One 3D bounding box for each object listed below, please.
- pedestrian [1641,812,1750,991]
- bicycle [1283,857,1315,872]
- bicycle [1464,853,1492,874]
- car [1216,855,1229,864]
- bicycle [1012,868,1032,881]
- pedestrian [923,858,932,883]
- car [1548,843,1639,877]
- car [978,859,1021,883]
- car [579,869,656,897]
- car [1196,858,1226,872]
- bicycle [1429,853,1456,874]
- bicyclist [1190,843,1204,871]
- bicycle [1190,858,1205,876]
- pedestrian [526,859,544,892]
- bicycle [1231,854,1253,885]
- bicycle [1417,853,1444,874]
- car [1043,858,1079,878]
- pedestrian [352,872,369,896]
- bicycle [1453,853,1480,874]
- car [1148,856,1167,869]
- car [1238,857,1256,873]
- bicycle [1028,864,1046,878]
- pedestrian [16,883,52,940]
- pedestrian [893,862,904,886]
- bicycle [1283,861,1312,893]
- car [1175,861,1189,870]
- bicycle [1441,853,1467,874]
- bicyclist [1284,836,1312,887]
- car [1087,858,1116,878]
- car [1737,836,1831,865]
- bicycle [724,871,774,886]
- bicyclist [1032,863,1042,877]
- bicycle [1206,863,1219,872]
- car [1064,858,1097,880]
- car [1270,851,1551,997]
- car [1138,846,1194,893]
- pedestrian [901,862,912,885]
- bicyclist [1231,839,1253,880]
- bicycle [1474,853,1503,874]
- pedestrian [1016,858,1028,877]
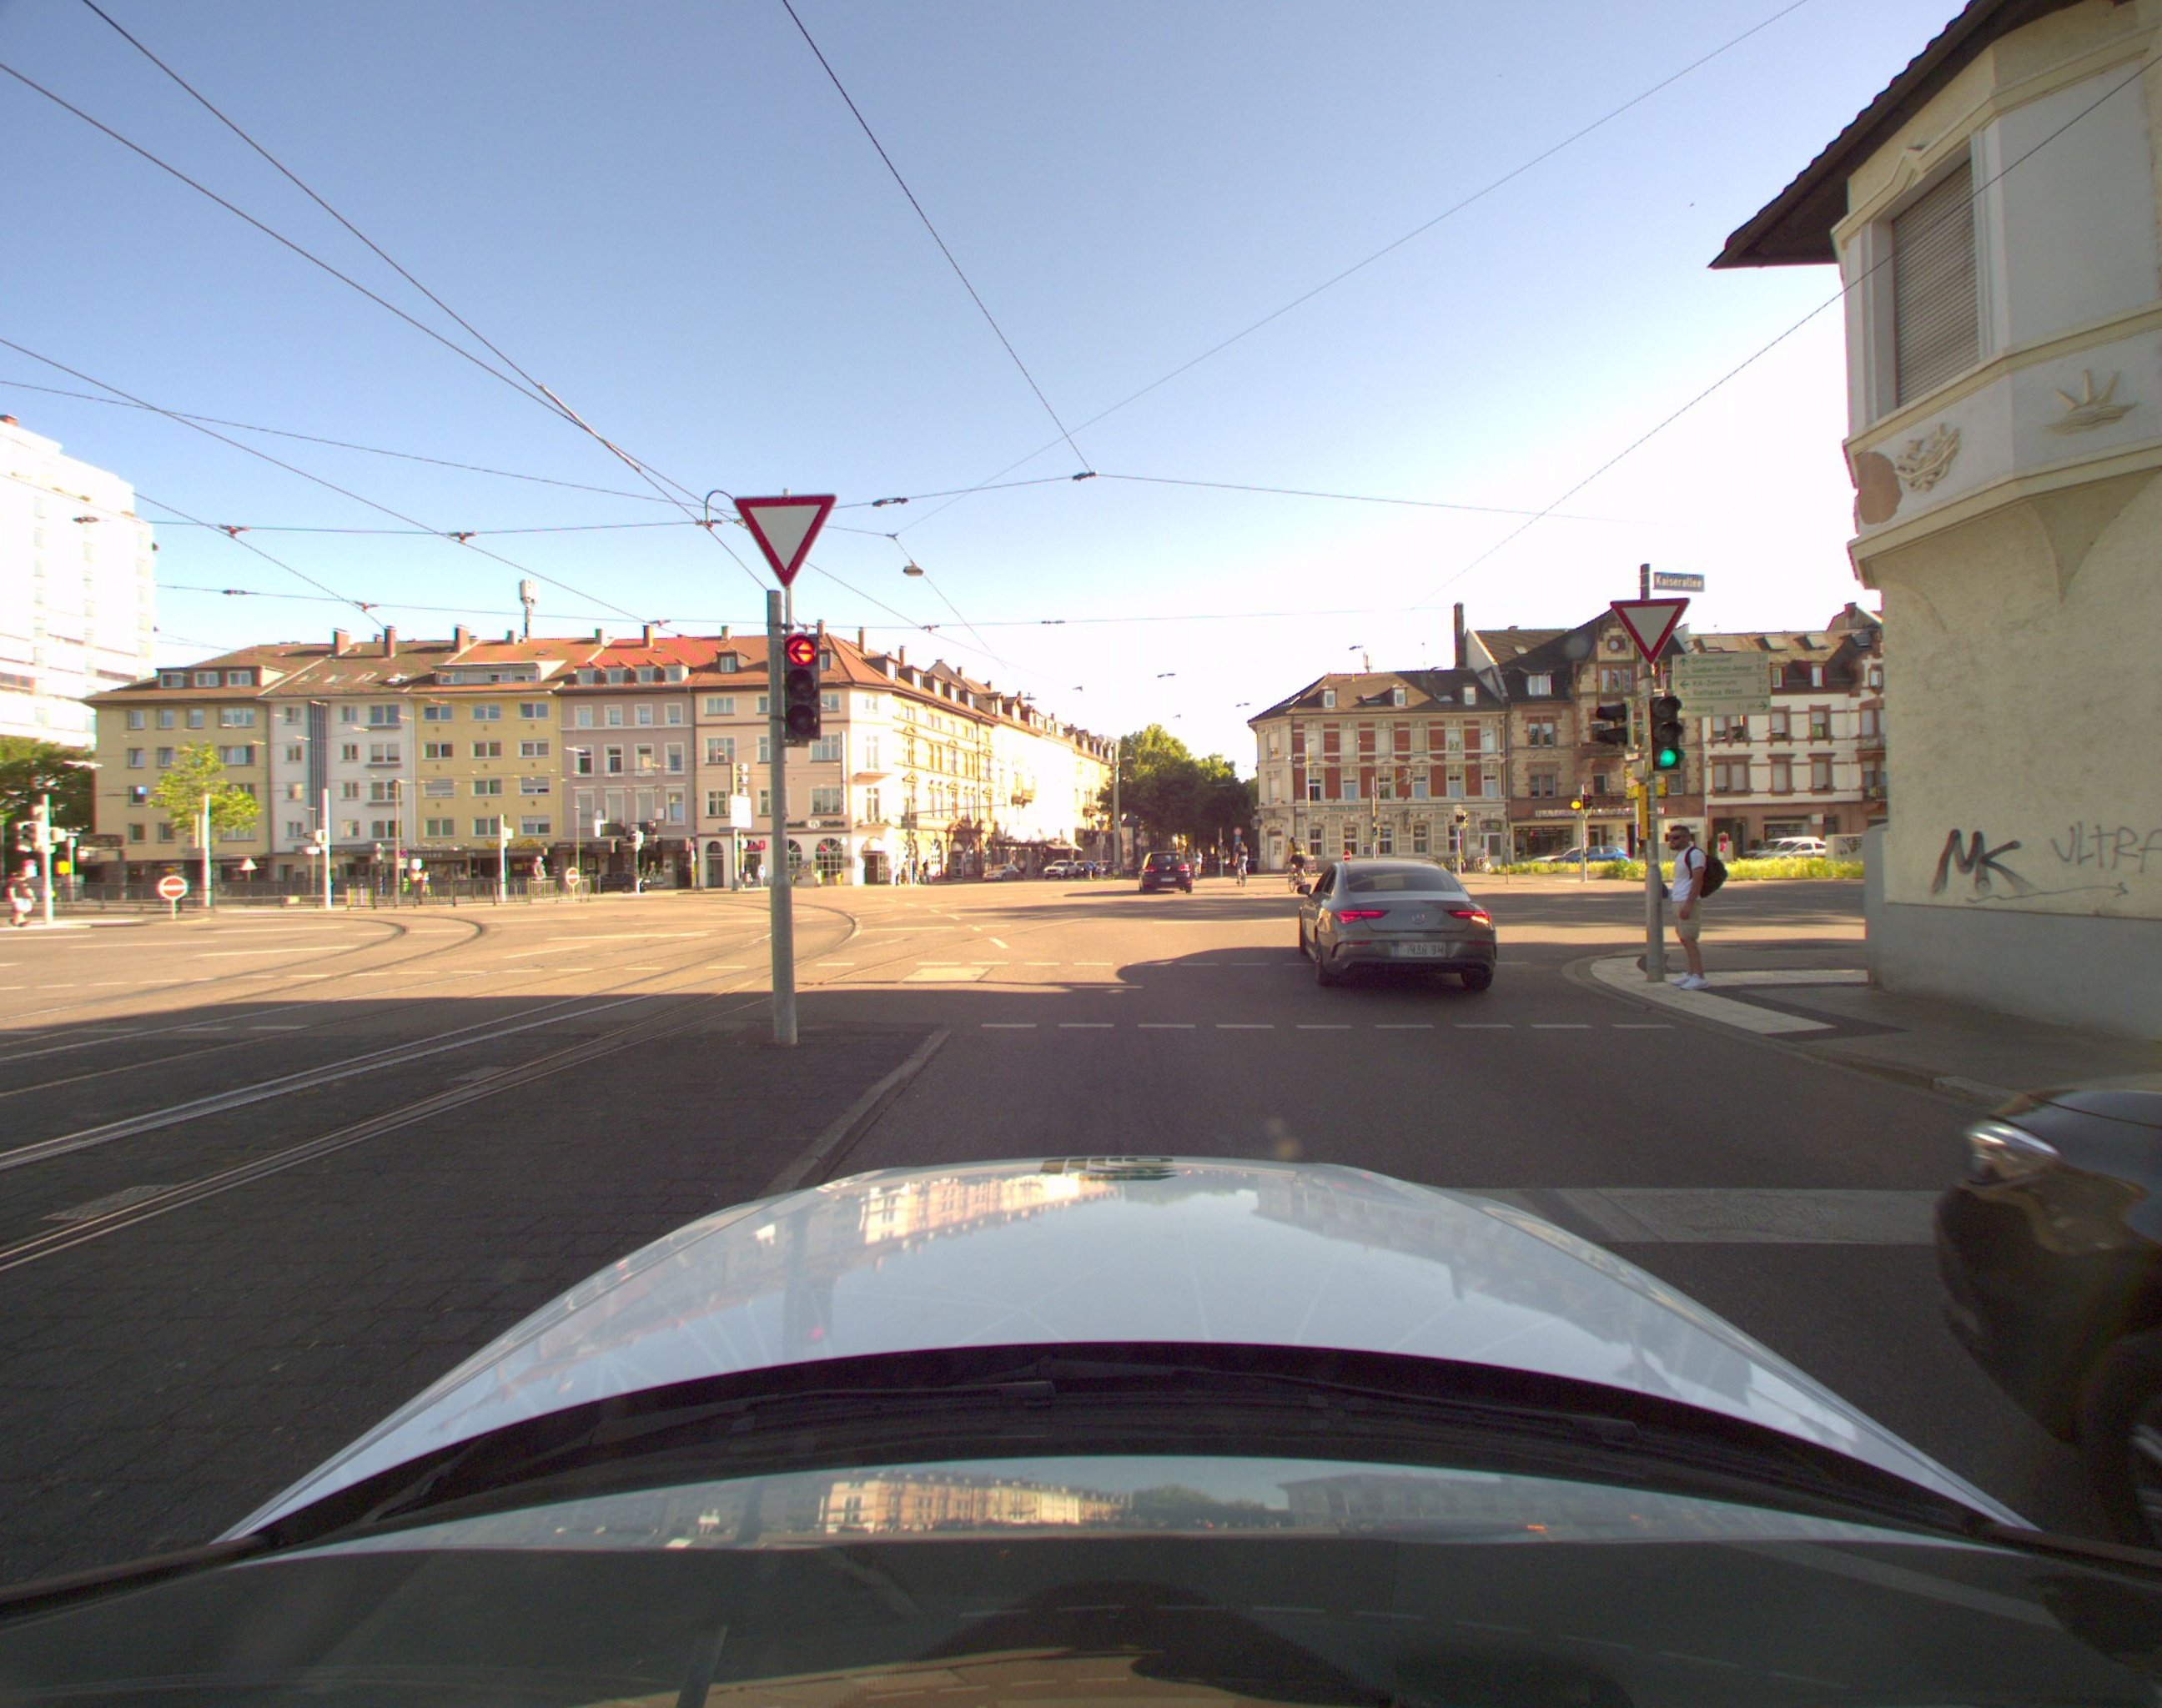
[{"bbox_3d":[6.415,0.481,8.512,0.589,1.756,0.635,-5,-1,-37],"label":"pedestrian"},{"bbox_3d":[15.211,0.753,56.923,2.040,0.998,0.631,-2,-1,4],"label":"bicycle"},{"bbox_3d":[25.501,0.612,52.386,0.626,1.287,2.663,0,-1,3],"label":"bicycle"},{"bbox_3d":[23.293,0.861,134.372,1.546,1.513,3.673,-1,-1,19],"label":"car"},{"bbox_3d":[-4.732,1.635,65.560,0.756,1.008,2.406,-1,-1,16],"label":"bicycle"},{"bbox_3d":[-11.578,1.226,61.416,0.460,1.881,0.637,-1,-1,12],"label":"pedestrian"},{"bbox_3d":[28.342,0.329,45.140,3.769,1.778,2.000,0,-1,1],"label":"car"},{"bbox_3d":[-6.715,1.368,67.441,1.977,1.904,4.019,-1,-1,19],"label":"car"},{"bbox_3d":[-30.589,1.918,53.819,3.962,1.670,2.006,-2,0,10],"label":"car"},{"bbox_3d":[18.338,1.561,114.727,3.955,1.904,2.009,-1,-1,17],"label":"car"},{"bbox_3d":[23.260,0.618,52.425,0.689,1.287,2.663,0,-1,3],"label":"bicycle"},{"bbox_3d":[6.832,0.177,47.905,0.687,1.633,0.884,0,-1,1],"label":"bicyclist"},{"bbox_3d":[6.864,0.744,47.929,0.647,1.031,1.772,0,-1,2],"label":"bicycle"},{"bbox_3d":[-27.816,1.091,41.515,0.523,1.628,0.577,0,-1,0],"label":"pedestrian"},{"bbox_3d":[6.511,0.621,32.937,0.751,1.236,1.706,-1,-1,7],"label":"bicycle"},{"bbox_3d":[22.486,0.622,52.460,0.689,1.287,2.663,0,-1,3],"label":"bicycle"},{"bbox_3d":[-1.612,1.166,67.622,1.979,1.618,4.015,-1,-1,14],"label":"car"},{"bbox_3d":[-50.973,2.125,57.616,0.631,1.634,0.700,0,-1,-2],"label":"pedestrian"},{"bbox_3d":[24.774,0.613,52.390,0.626,1.287,2.663,0,-1,3],"label":"bicycle"},{"bbox_3d":[11.545,1.328,122.567,1.977,1.904,4.019,-1,-1,19],"label":"car"},{"bbox_3d":[16.817,1.105,82.365,1.680,1.565,3.855,-1,-1,14],"label":"car"},{"bbox_3d":[-3.793,1.462,70.567,0.644,1.123,2.265,-1,-1,23],"label":"bicycle"},{"bbox_3d":[-31.249,1.709,24.312,0.590,1.664,0.518,0,-1,-44],"label":"pedestrian"},{"bbox_3d":[-12.637,1.364,56.368,0.631,1.634,0.700,0,-1,-2],"label":"pedestrian"},{"bbox_3d":[7.235,0.745,27.169,0.748,1.031,1.789,-1,-1,20],"label":"bicycle"},{"bbox_3d":[16.926,1.889,135.922,1.546,1.513,3.673,-1,-1,19],"label":"car"},{"bbox_3d":[23.984,0.591,52.418,0.626,1.287,2.663,0,-1,3],"label":"bicycle"},{"bbox_3d":[7.174,0.255,26.916,0.799,1.663,0.888,-1,-1,19],"label":"bicyclist"},{"bbox_3d":[2.065,1.402,79.922,1.979,1.904,4.015,-1,-1,14],"label":"car"},{"bbox_3d":[45.310,-0.229,52.571,4.349,1.778,2.000,0,-1,1],"label":"car"},{"bbox_3d":[-23.426,1.740,57.468,3.118,0.980,1.002,0,-1,1],"label":"bicycle"},{"bbox_3d":[-3.792,1.360,70.534,0.626,1.185,0.689,-1,-1,23],"label":"bicyclist"},{"bbox_3d":[15.994,1.648,98.866,0.630,1.085,1.687,0,-1,-28],"label":"bicycle"},{"bbox_3d":[-0.010,1.368,73.674,1.979,1.904,4.015,-1,-1,14],"label":"car"},{"bbox_3d":[3.745,0.706,10.224,1.899,1.420,4.496,0,0,3],"label":"car"},{"bbox_3d":[2.982,0.502,29.189,1.722,1.508,4.053,0,1,2],"label":"car"},{"bbox_3d":[-12.378,1.367,57.709,0.631,1.634,0.700,0,-1,-2],"label":"pedestrian"},{"bbox_3d":[6.533,0.227,33.073,0.801,1.606,0.885,0,-1,7],"label":"bicyclist"},{"bbox_3d":[26.197,0.612,52.357,0.626,1.287,2.663,0,-1,3],"label":"bicycle"},{"bbox_3d":[-4.760,1.105,65.492,0.814,1.512,0.601,-1,-1,16],"label":"pedestrian"}]
